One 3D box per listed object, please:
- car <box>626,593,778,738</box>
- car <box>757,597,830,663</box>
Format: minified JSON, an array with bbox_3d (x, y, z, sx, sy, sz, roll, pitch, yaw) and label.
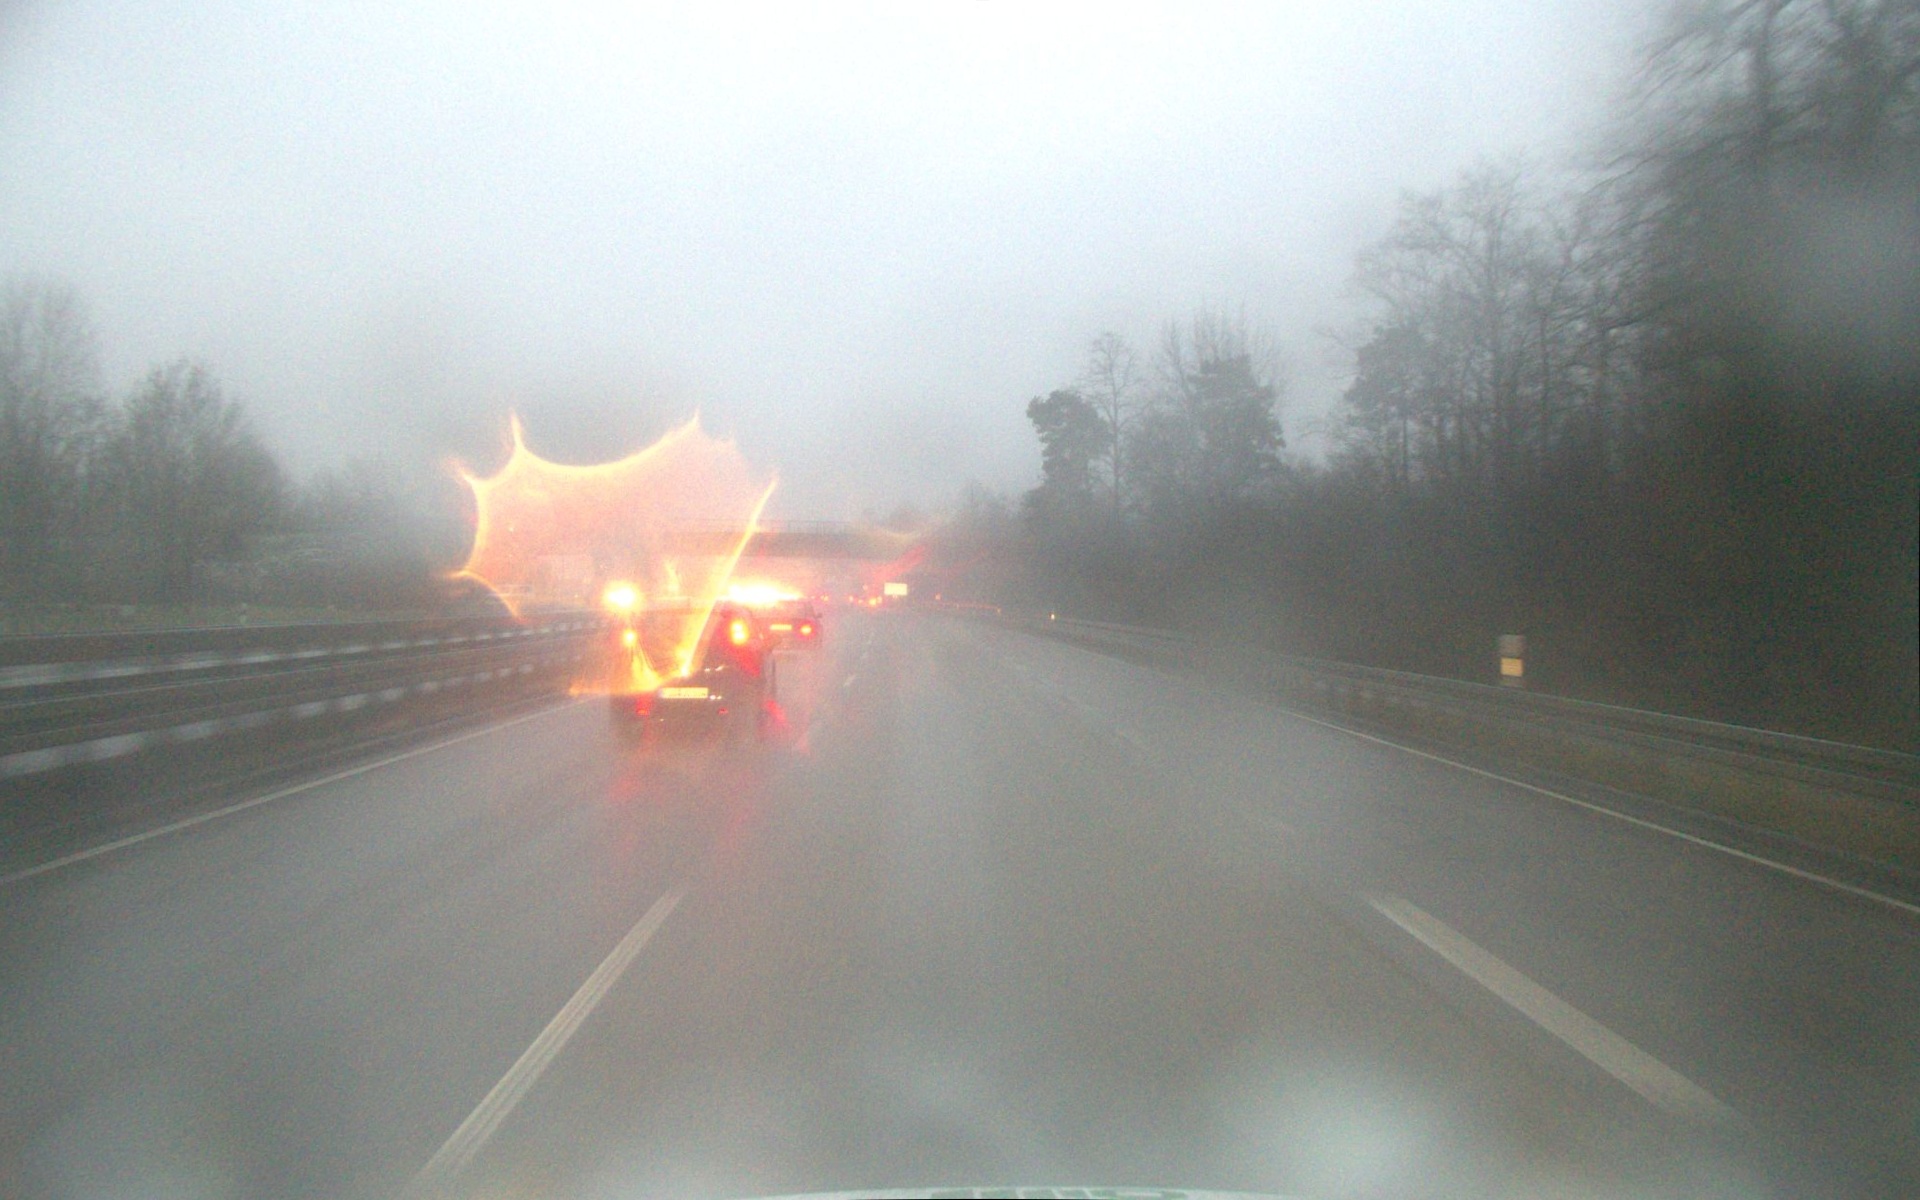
[{"bbox_3d":[-2.942,0.699,19.403,1.498,1.440,3.475,3,0,-6],"label":"car"},{"bbox_3d":[-4.191,0.719,42.128,1.741,1.561,4.698,-1,0,-5],"label":"car"}]
